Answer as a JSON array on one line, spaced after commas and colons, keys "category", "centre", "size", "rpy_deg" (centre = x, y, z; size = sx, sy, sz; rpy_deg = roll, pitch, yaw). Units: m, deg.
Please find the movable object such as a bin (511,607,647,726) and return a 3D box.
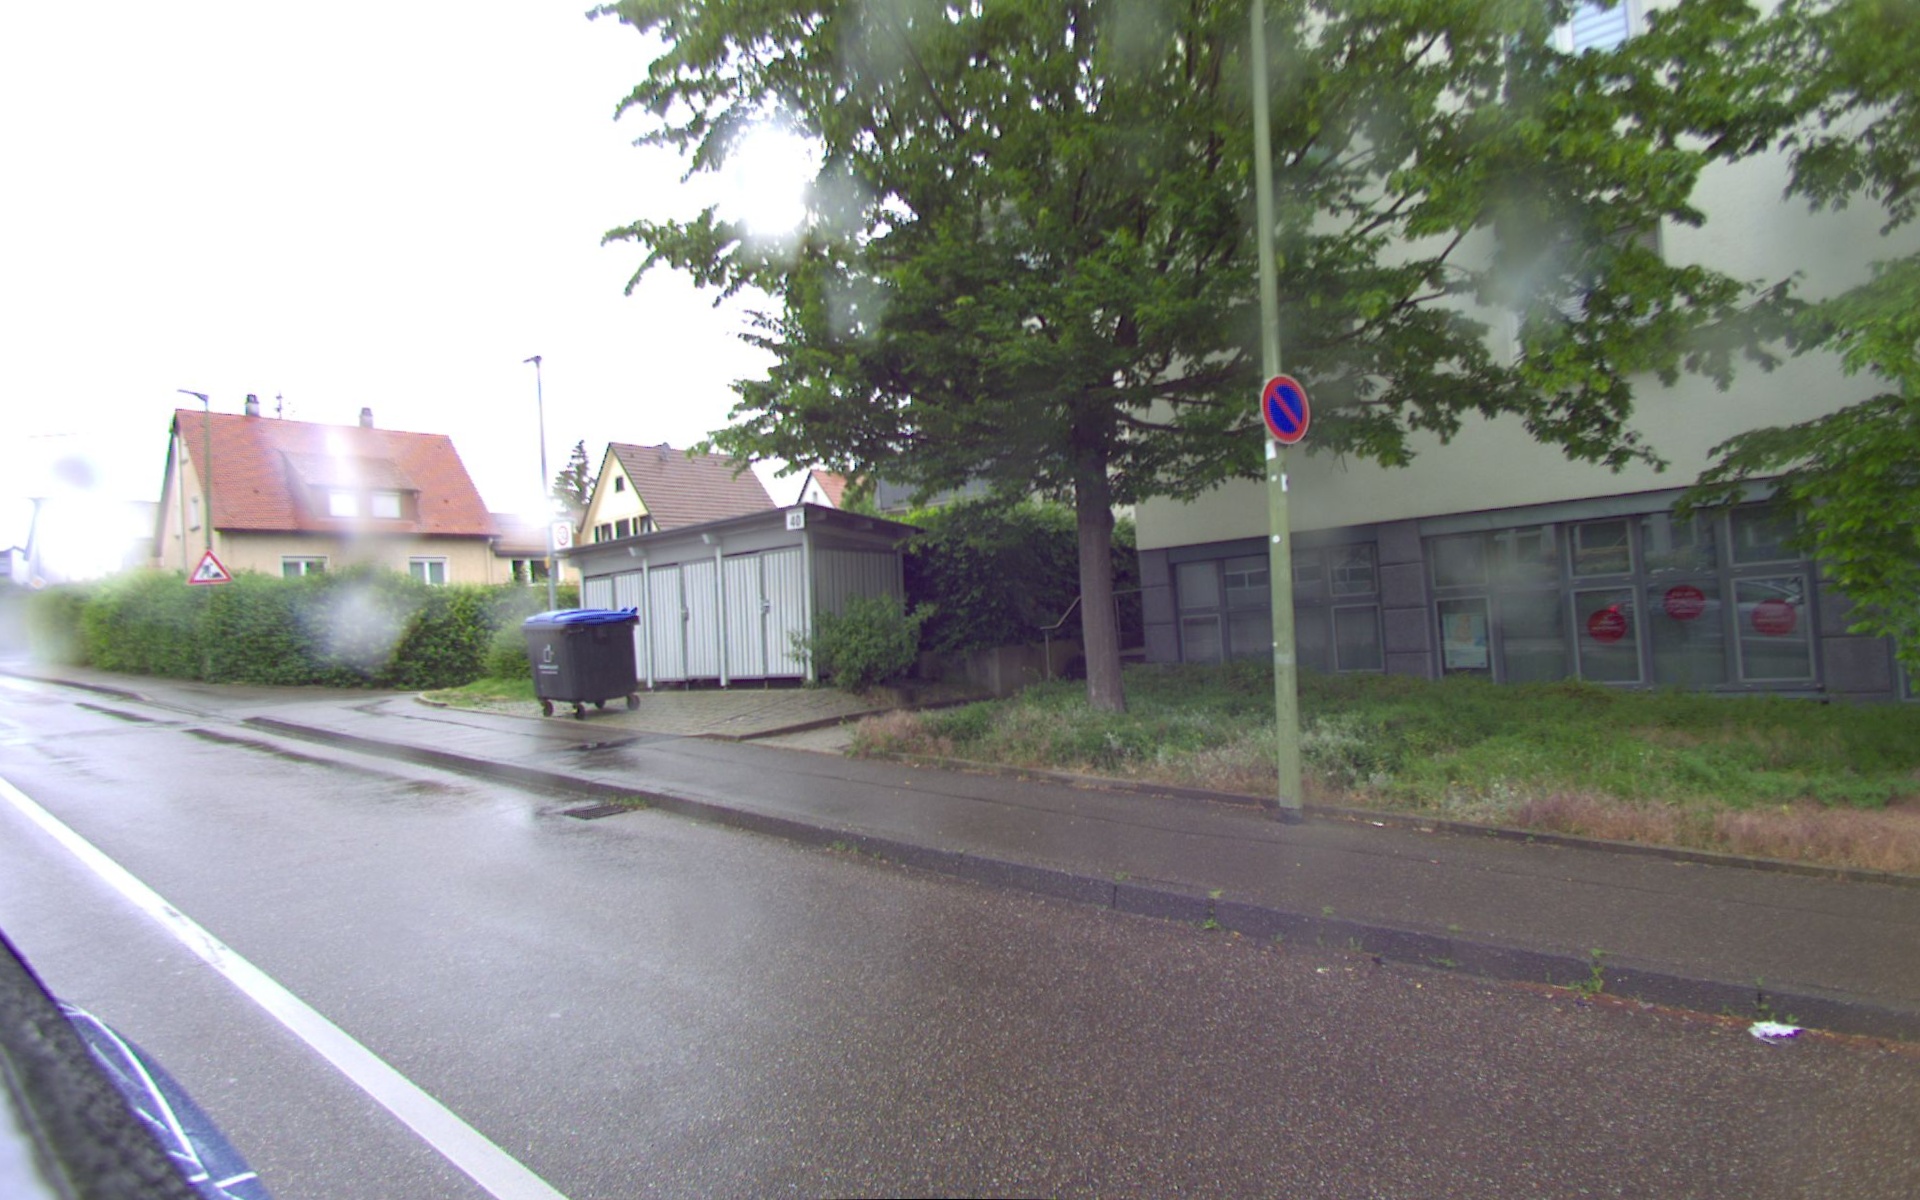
[{"category": "movable object such as a bin", "centre": [-4.764, 0.811, 12.662], "size": [1.201, 1.306, 1.043], "rpy_deg": [-3, 3, 41]}]
